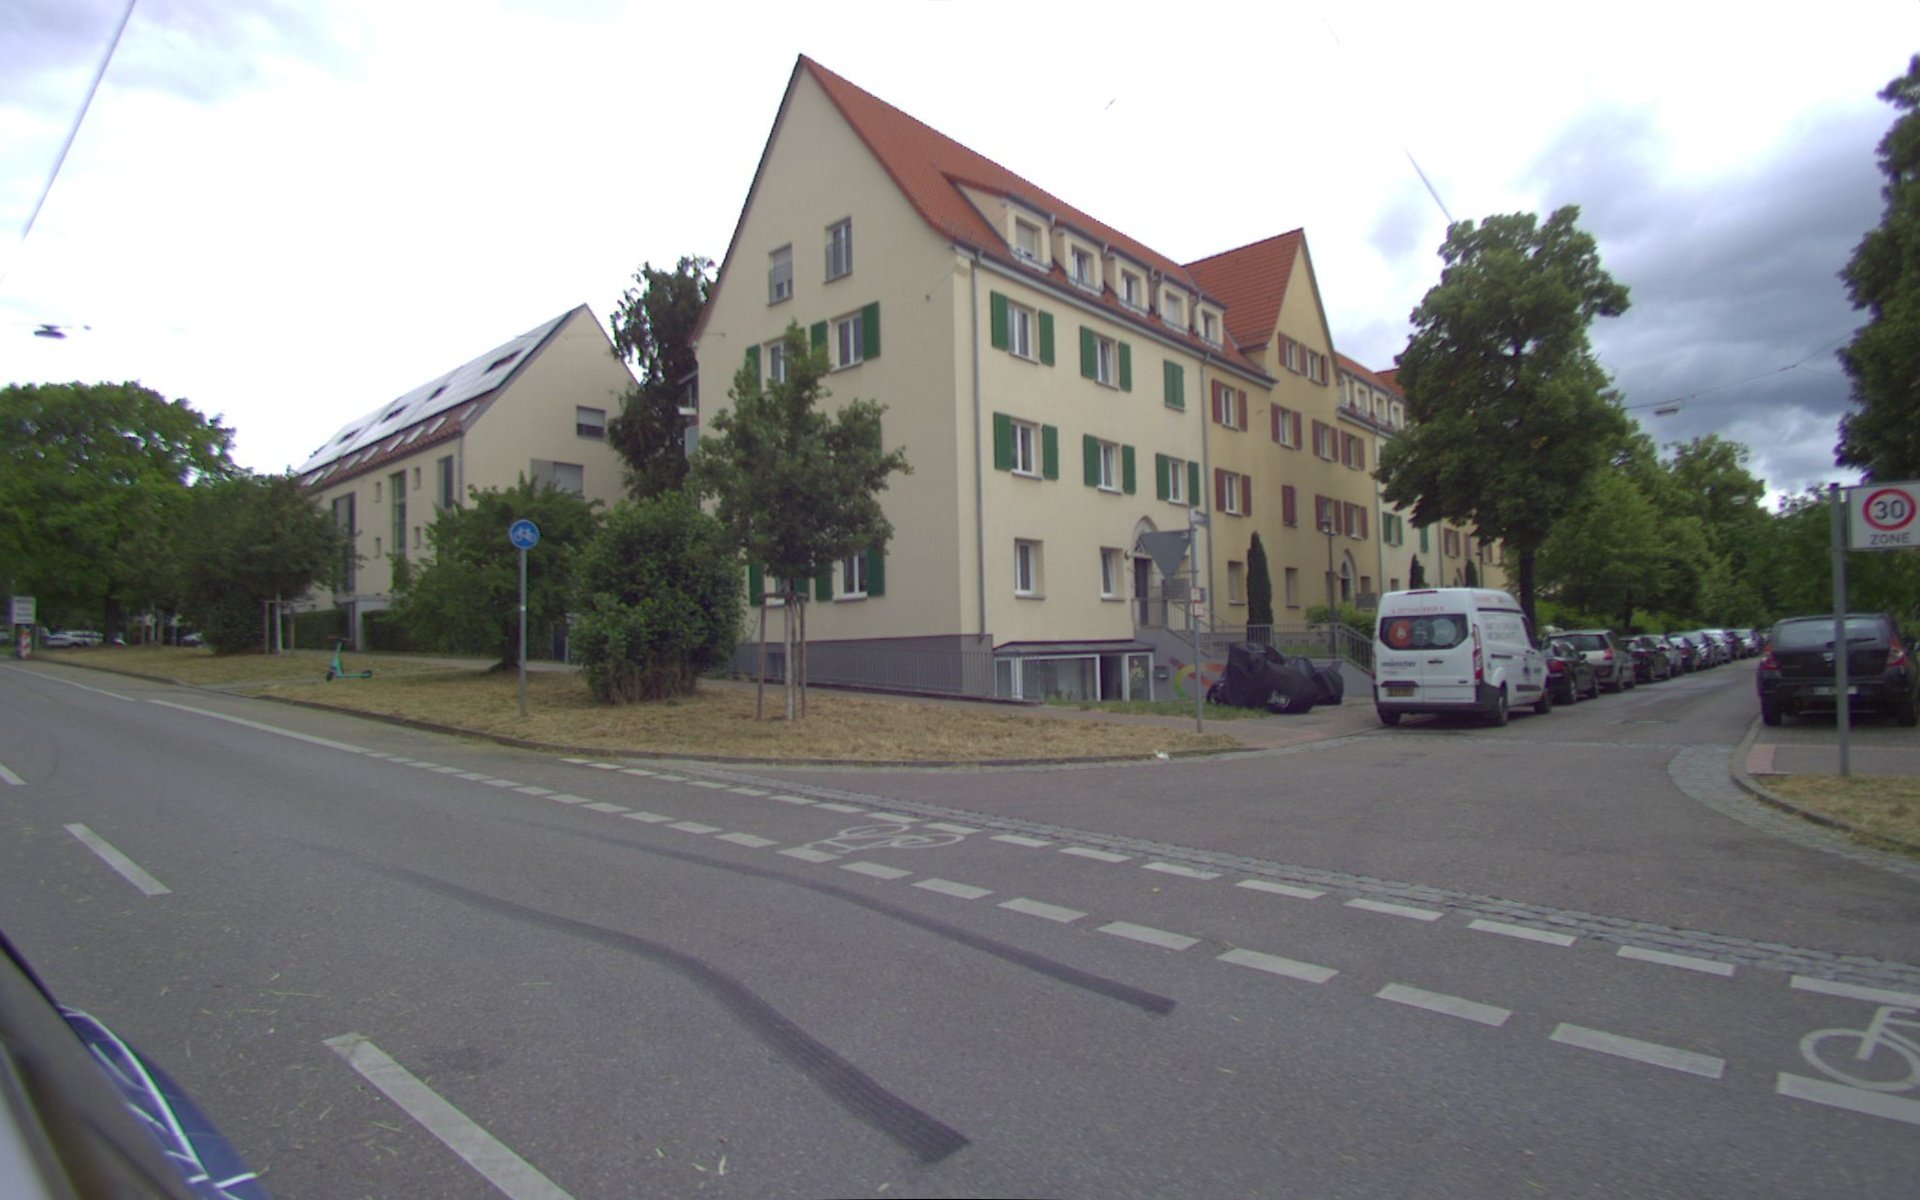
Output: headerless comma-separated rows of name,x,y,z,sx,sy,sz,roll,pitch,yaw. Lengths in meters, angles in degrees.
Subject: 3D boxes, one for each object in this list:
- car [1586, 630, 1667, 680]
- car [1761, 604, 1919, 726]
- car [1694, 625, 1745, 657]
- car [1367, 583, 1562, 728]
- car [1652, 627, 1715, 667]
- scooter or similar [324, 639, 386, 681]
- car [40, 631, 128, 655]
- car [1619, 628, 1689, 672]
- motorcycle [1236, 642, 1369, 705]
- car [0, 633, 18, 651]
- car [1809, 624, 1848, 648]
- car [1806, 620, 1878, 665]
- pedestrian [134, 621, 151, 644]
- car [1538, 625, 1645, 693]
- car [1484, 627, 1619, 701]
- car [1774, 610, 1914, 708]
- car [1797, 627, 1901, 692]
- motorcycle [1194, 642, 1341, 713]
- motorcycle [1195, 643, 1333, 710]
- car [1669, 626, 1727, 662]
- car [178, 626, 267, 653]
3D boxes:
car,20.323,1.626,30.793,1.585,1.397,3.425,-2,-2,41
car,12.900,0.903,14.725,1.690,1.542,3.864,-6,-5,40
car,34.813,1.846,46.362,1.585,1.397,3.425,-2,-2,41
car,9.196,0.936,18.238,1.994,2.270,4.667,-1,-2,42
car,27.119,1.724,37.896,1.585,1.397,3.425,-2,-2,41
scooter or similar,-16.356,1.616,27.374,0.466,1.094,1.357,-2,-3,37
car,-57.476,2.842,66.507,1.793,1.475,4.004,0,-3,19
car,24.019,1.687,34.969,1.585,1.397,3.425,-2,-2,41
motorcycle,7.502,1.582,22.224,2.598,1.288,1.005,-1,-2,33
car,-92.009,4.046,97.243,4.000,1.618,1.836,-2,-2,43
car,49.110,2.025,57.231,1.541,1.248,3.379,-6,-5,40
car,27.492,1.301,31.587,1.541,1.248,3.379,-6,-5,40
pedestrian,-62.670,2.483,77.566,0.682,1.770,0.775,-1,-1,9
car,16.422,1.467,26.232,1.744,1.578,3.777,-2,-2,41
car,13.257,1.364,22.598,1.745,1.478,3.774,-2,-2,44
car,15.676,1.015,18.019,1.620,1.542,3.612,-6,-5,40
car,19.594,1.289,22.372,1.541,1.248,3.379,-6,-5,40
motorcycle,5.914,1.473,19.528,2.562,1.288,1.020,1,-2,-16
motorcycle,6.266,1.551,20.895,2.562,1.288,1.020,0,-1,-16
car,30.475,1.781,41.763,1.585,1.397,3.425,-2,-2,41
car,-55.288,2.935,75.976,1.999,1.932,5.086,-2,-2,41
